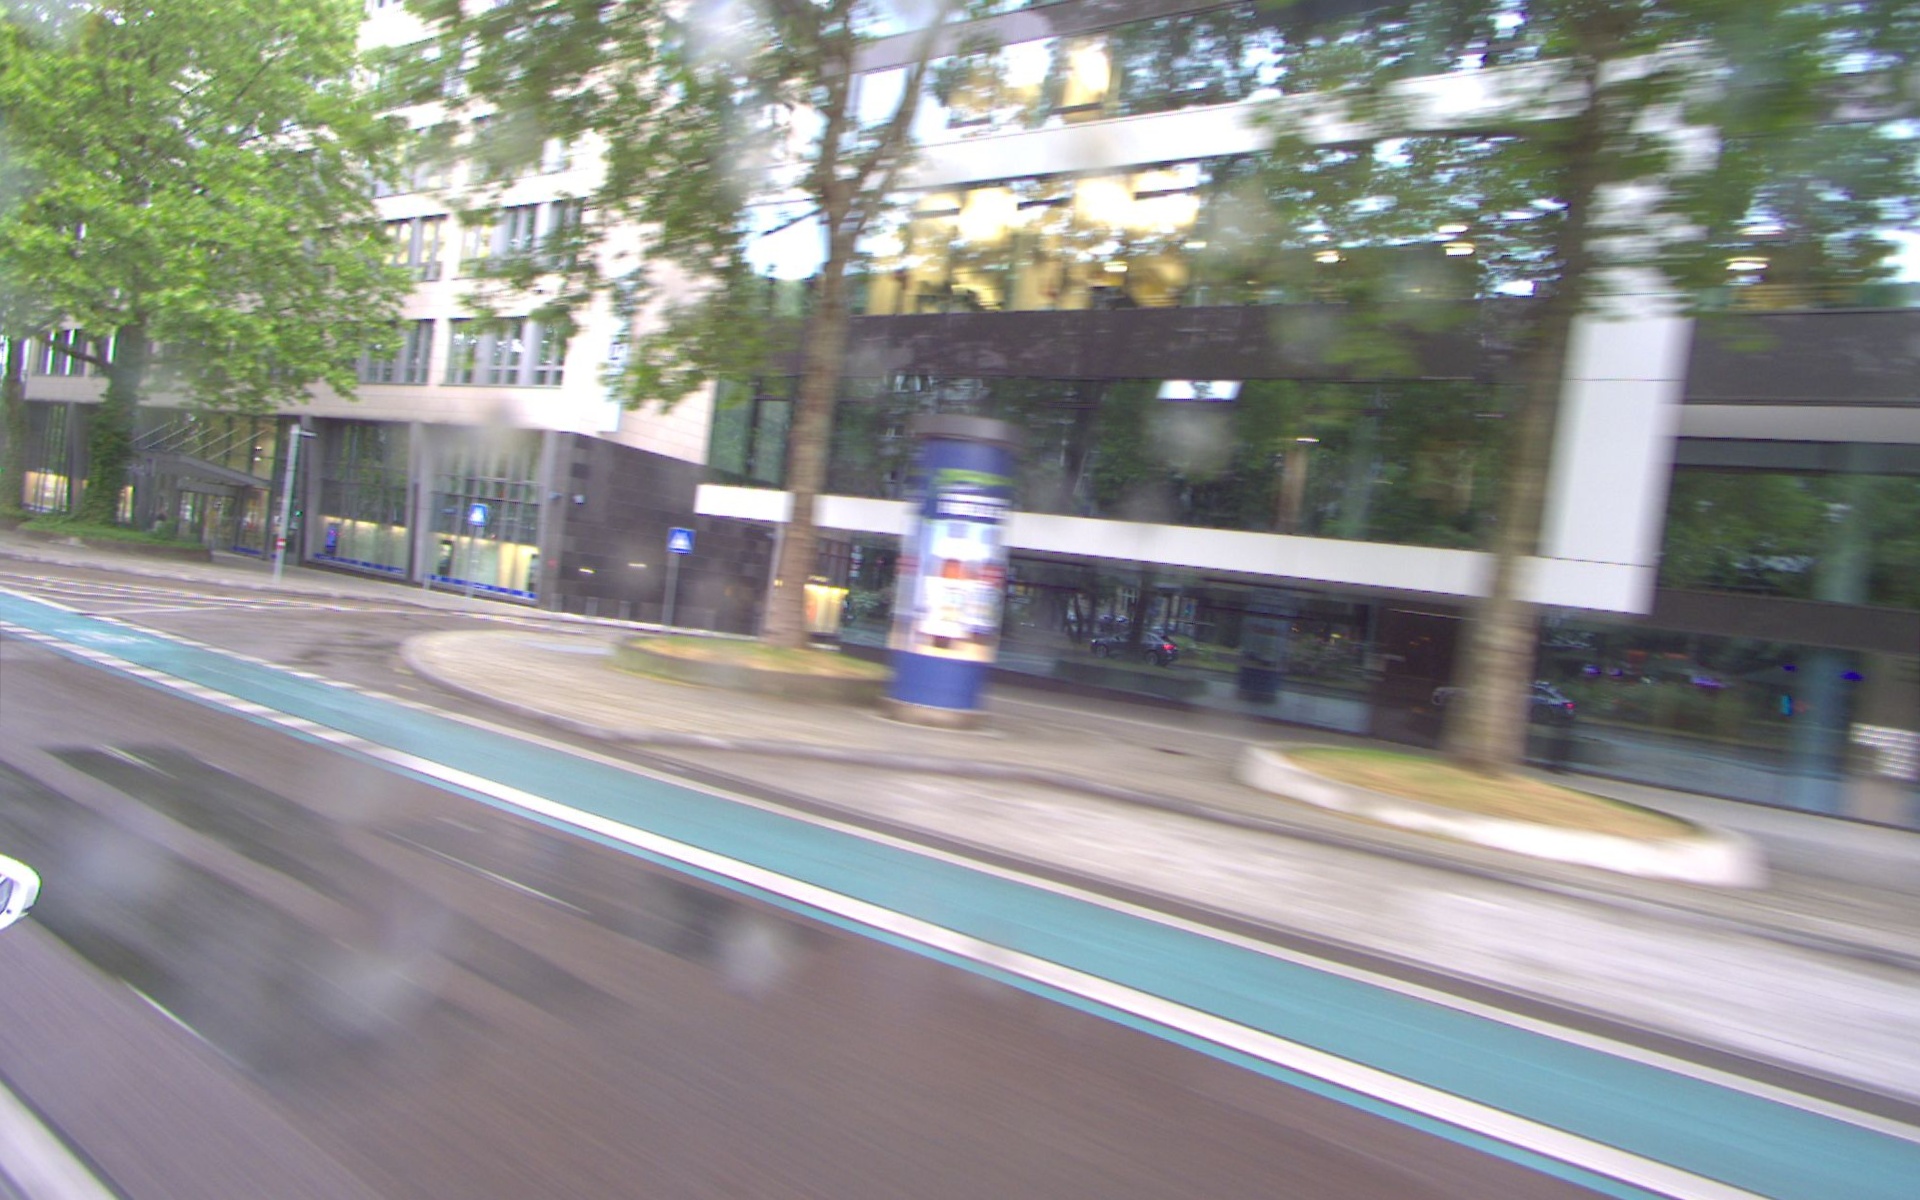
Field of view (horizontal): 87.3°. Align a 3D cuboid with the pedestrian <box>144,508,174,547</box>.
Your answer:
[{"bbox_3d":[-37.699,-3.414,47.369,0.718,1.714,0.825,7,1,-16],"label":"pedestrian"}]
